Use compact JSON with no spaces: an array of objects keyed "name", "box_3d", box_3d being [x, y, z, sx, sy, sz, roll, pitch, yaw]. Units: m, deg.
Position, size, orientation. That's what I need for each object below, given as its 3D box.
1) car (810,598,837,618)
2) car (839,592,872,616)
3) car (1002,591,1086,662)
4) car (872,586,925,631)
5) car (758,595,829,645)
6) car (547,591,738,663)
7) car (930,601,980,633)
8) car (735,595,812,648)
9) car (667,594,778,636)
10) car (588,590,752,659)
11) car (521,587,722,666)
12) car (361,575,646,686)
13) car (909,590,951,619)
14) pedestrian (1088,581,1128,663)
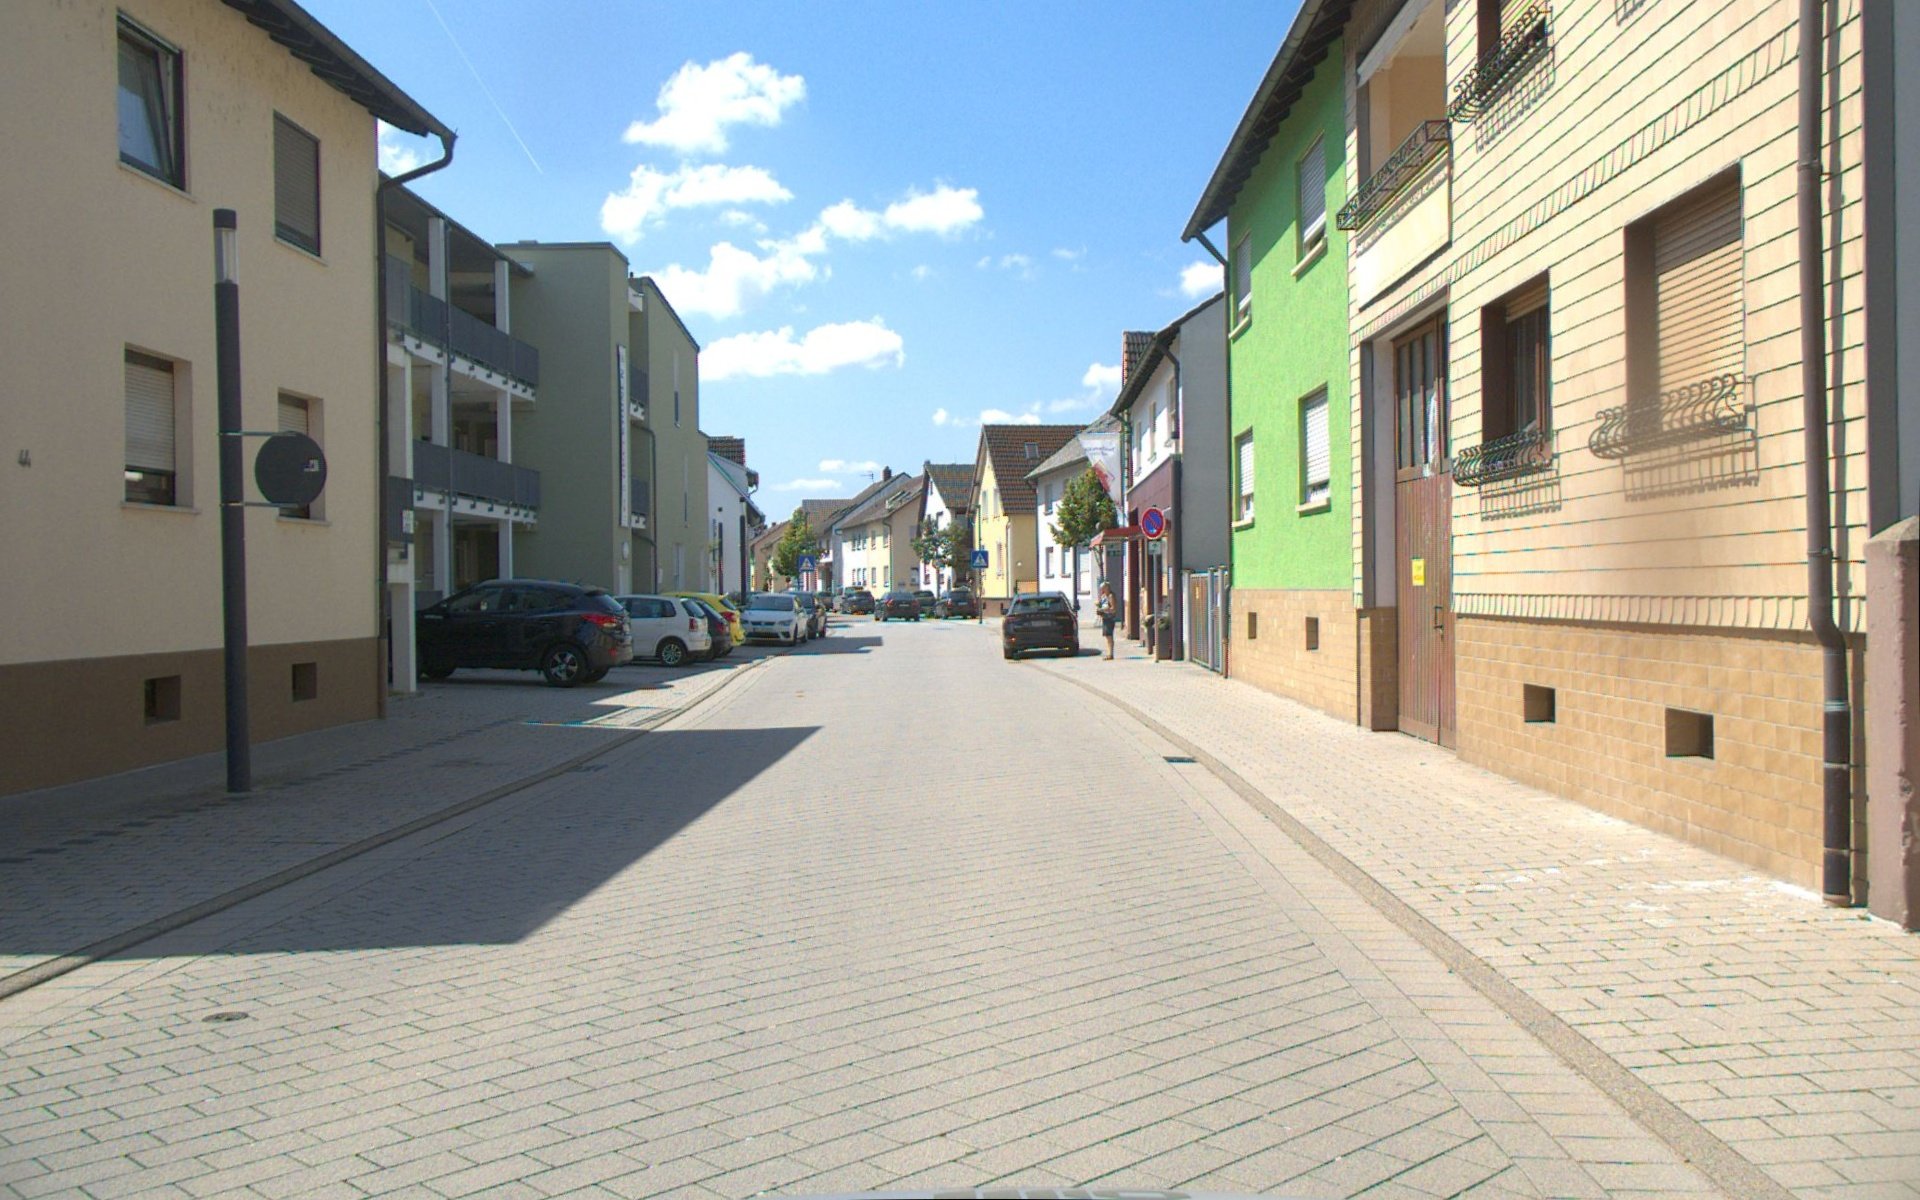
[{"name":"car","box_3d":[-10.819,0.622,130.744,1.723,1.519,3.990,-1,0,-11]},{"name":"car","box_3d":[-7.402,0.269,116.648,1.844,1.619,3.990,-1,0,-11]},{"name":"car","box_3d":[2.025,0.572,39.247,1.819,1.484,4.588,-3,0,4]},{"name":"car","box_3d":[-3.071,0.398,82.206,1.958,2.093,4.362,-1,0,-11]},{"name":"car","box_3d":[-5.373,0.627,53.913,1.776,1.516,4.278,1,1,1]},{"name":"car","box_3d":[-7.093,0.594,37.183,3.905,1.467,1.691,2,0,1]},{"name":"car","box_3d":[-0.280,0.888,86.249,1.796,1.497,4.265,-3,0,-11]},{"name":"car","box_3d":[-5.406,0.596,48.393,1.721,1.435,3.878,1,1,1]},{"name":"car","box_3d":[-9.323,0.589,65.001,4.021,1.463,1.765,-2,0,1]},{"name":"car","box_3d":[-6.983,0.583,40.050,3.615,1.552,1.673,1,0,2]},{"name":"car","box_3d":[-7.109,0.546,35.004,3.820,1.529,1.751,2,0,2]},{"name":"car","box_3d":[-7.415,0.476,27.145,4.132,1.687,1.784,1,0,0]},{"name":"car","box_3d":[-1.775,0.225,95.901,1.813,1.590,3.684,-1,0,-11]},{"name":"pedestrian","box_3d":[3.134,0.452,35.022,0.714,1.668,0.749,-4,0,4]}]
